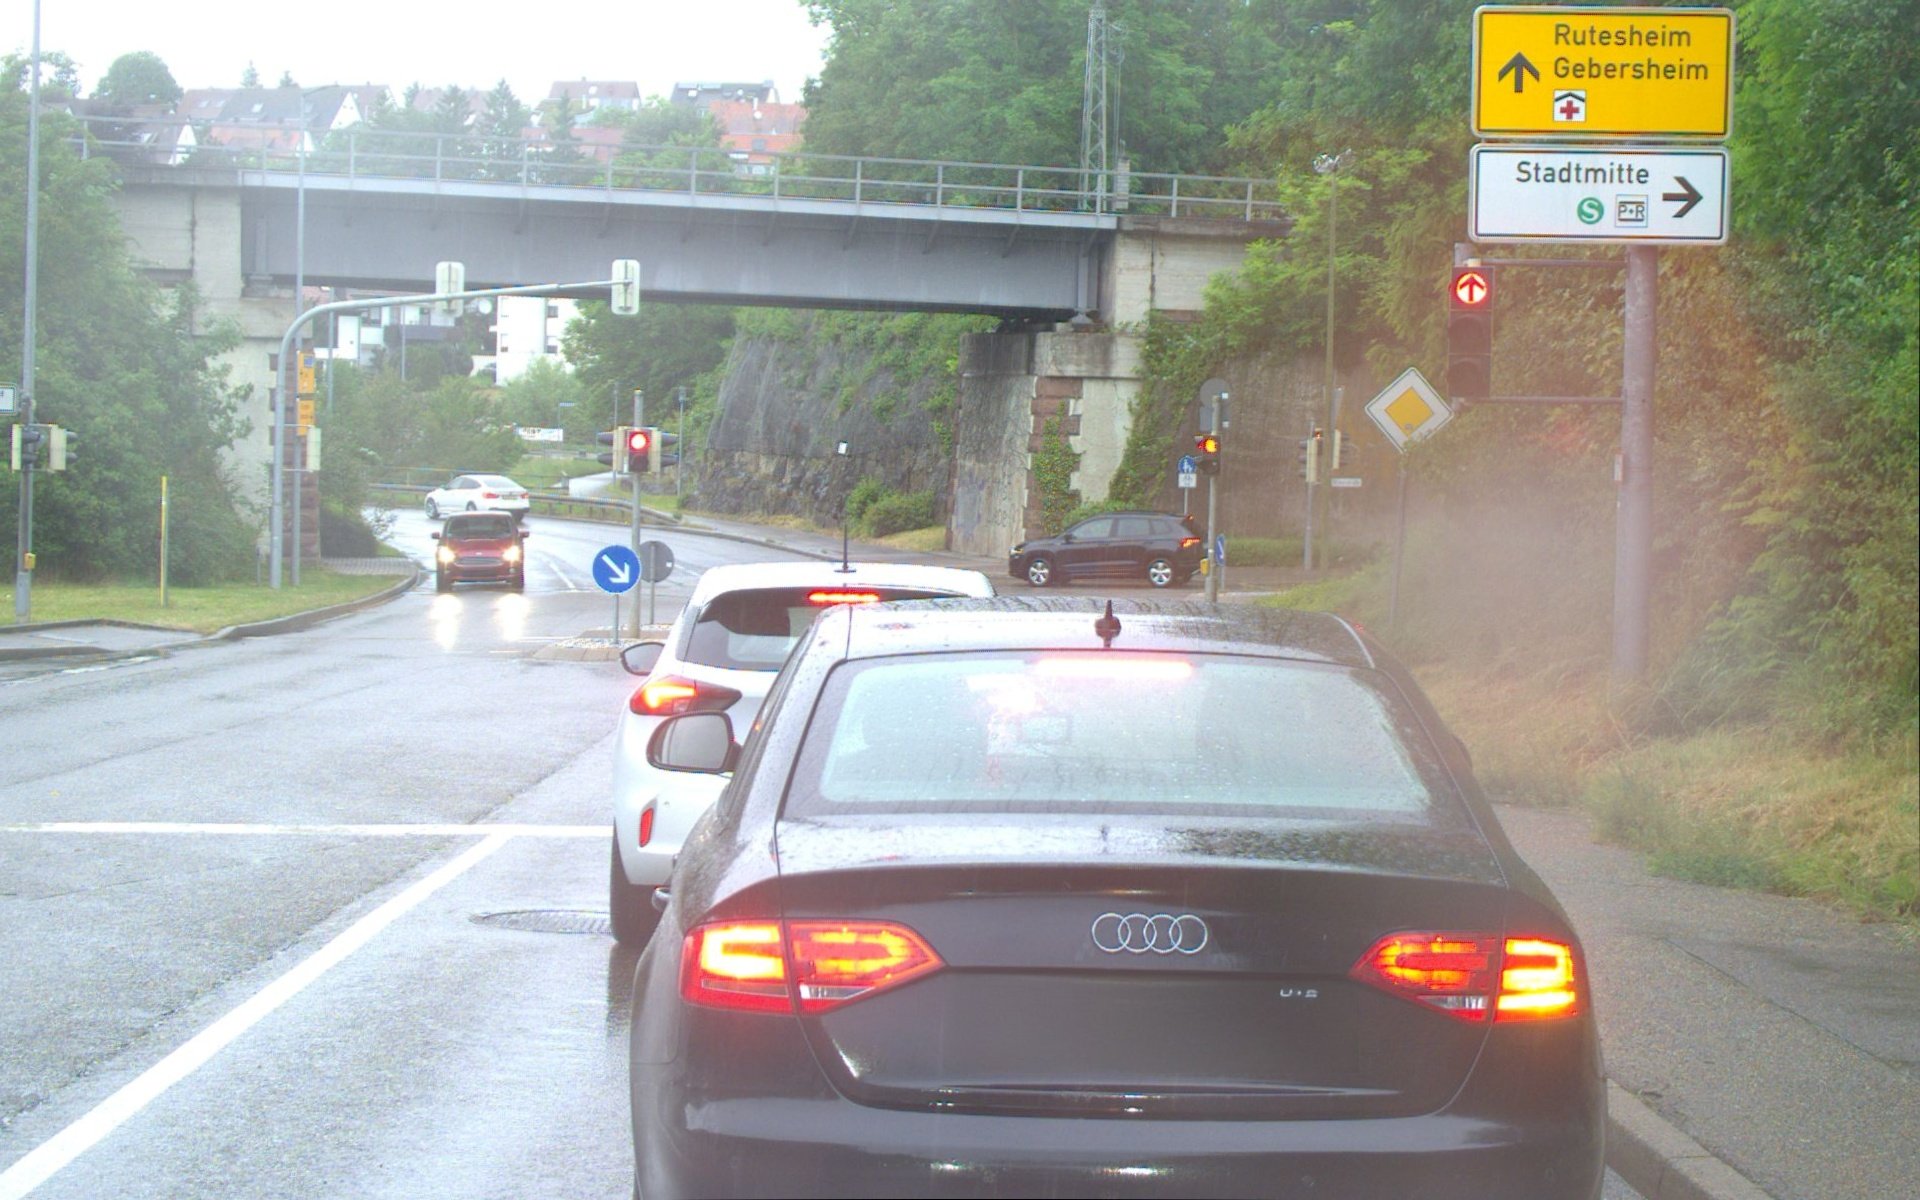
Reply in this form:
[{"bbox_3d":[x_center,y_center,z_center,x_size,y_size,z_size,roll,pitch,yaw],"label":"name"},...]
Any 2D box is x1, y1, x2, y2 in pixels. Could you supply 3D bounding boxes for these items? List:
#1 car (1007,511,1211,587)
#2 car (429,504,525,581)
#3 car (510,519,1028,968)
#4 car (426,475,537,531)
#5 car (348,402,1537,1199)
[{"bbox_3d":[3.195,-1.094,73.431,3.990,1.590,1.999,0,1,16],"label":"car"},{"bbox_3d":[-10.502,-1.264,74.896,1.993,1.622,4.001,0,1,-7],"label":"car"},{"bbox_3d":[-0.704,0.511,14.199,1.823,1.579,4.000,0,0,-1],"label":"car"},{"bbox_3d":[-15.809,-3.186,113.403,1.805,1.736,4.480,1,0,-34],"label":"car"},{"bbox_3d":[-0.054,0.503,7.435,1.870,1.611,4.000,0,0,-1],"label":"car"}]
